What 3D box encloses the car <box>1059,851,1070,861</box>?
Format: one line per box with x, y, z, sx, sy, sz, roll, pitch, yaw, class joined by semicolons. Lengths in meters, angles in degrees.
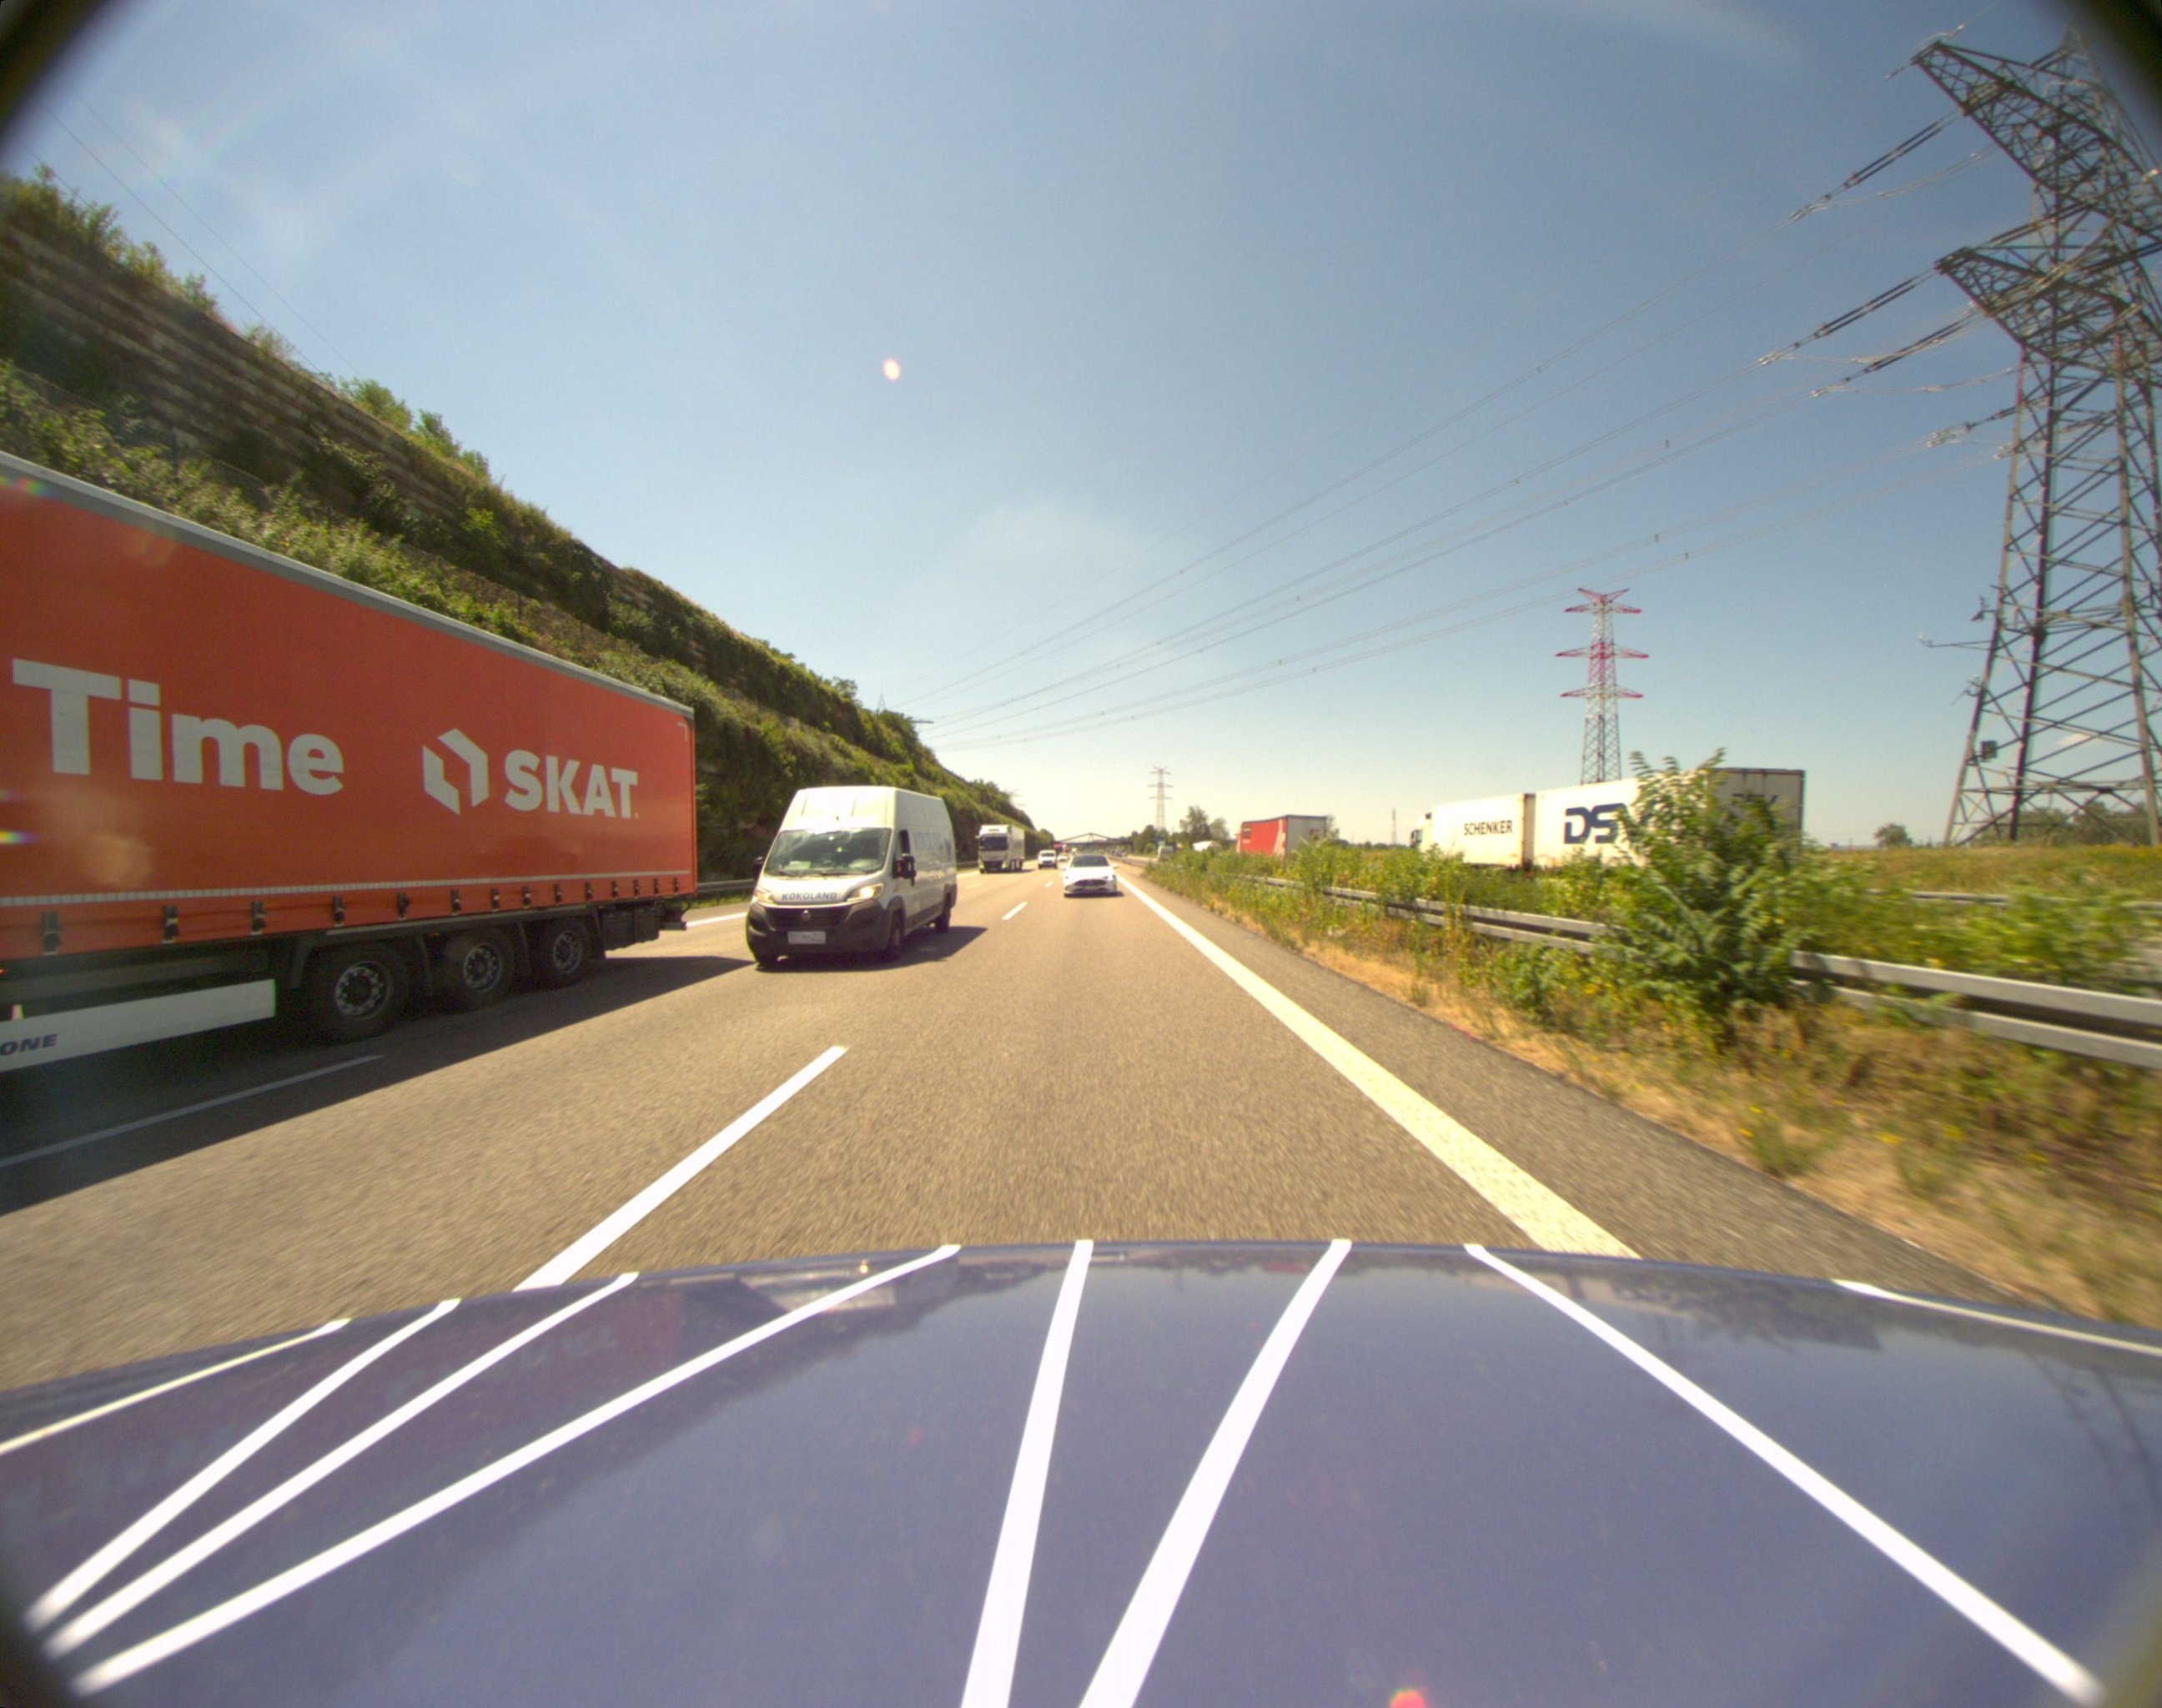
-2.714;0.314;123.662;1.784;1.475;3.999;-1;0;-1;car

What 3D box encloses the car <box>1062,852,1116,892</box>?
0.312;0.660;30.762;1.998;1.474;4.108;-1;0;0;car

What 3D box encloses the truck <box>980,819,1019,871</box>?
-6.789;-0.768;64.090;2.514;4.196;6.255;-1;1;1;truck

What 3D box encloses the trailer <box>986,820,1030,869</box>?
-6.733;-0.848;72.920;2.521;4.187;17.025;-1;0;0;trailer

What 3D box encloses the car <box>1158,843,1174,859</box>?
13.220;-0.468;118.608;1.998;2.423;6.030;0;1;2;car

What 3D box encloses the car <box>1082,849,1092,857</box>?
1.168;-0.226;141.221;1.784;1.475;3.999;0;0;-1;car

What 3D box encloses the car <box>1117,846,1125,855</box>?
11.775;-1.050;225.270;2.053;2.424;6.068;1;0;0;car

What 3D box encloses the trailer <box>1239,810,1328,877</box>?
14.244;-0.707;55.128;2.597;4.213;14.327;0;0;0;trailer

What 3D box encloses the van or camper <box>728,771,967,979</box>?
-3.643;0.262;13.576;2.102;2.753;6.756;-1;0;0;van or camper

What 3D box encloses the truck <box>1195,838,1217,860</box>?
19.021;-0.758;116.019;2.489;3.359;6.211;0;1;1;truck

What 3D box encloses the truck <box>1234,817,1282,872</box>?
14.256;-0.764;61.539;2.606;4.187;5.909;0;1;1;truck

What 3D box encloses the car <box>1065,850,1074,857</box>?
-2.444;-0.104;160.653;1.784;1.475;3.999;-1;0;-1;car

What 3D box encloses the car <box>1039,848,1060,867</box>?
-3.067;0.361;74.724;1.784;1.783;4.000;-1;0;0;car

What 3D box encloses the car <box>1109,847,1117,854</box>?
10.528;-1.077;251.160;2.114;2.284;6.706;0;0;0;car

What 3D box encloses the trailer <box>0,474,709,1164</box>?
-7.542;-0.196;5.584;2.651;3.982;13.605;-1;0;1;trailer

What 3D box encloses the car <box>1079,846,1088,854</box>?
0.664;-0.981;197.868;1.998;2.002;3.999;-2;1;1;car

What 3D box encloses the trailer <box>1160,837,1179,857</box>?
19.440;-1.533;167.559;2.676;4.061;13.914;0;0;0;trailer

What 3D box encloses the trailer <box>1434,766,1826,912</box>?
17.998;-0.450;27.780;2.861;3.800;15.977;0;0;0;trailer

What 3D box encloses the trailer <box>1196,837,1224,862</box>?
18.901;-0.669;111.986;2.422;3.352;11.563;0;0;2;trailer

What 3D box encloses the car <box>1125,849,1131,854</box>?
16.159;-0.794;262.920;1.712;1.515;4.513;2;0;0;car

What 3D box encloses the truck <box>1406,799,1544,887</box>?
18.058;-0.470;35.421;2.842;3.729;6.848;0;0;0;truck
